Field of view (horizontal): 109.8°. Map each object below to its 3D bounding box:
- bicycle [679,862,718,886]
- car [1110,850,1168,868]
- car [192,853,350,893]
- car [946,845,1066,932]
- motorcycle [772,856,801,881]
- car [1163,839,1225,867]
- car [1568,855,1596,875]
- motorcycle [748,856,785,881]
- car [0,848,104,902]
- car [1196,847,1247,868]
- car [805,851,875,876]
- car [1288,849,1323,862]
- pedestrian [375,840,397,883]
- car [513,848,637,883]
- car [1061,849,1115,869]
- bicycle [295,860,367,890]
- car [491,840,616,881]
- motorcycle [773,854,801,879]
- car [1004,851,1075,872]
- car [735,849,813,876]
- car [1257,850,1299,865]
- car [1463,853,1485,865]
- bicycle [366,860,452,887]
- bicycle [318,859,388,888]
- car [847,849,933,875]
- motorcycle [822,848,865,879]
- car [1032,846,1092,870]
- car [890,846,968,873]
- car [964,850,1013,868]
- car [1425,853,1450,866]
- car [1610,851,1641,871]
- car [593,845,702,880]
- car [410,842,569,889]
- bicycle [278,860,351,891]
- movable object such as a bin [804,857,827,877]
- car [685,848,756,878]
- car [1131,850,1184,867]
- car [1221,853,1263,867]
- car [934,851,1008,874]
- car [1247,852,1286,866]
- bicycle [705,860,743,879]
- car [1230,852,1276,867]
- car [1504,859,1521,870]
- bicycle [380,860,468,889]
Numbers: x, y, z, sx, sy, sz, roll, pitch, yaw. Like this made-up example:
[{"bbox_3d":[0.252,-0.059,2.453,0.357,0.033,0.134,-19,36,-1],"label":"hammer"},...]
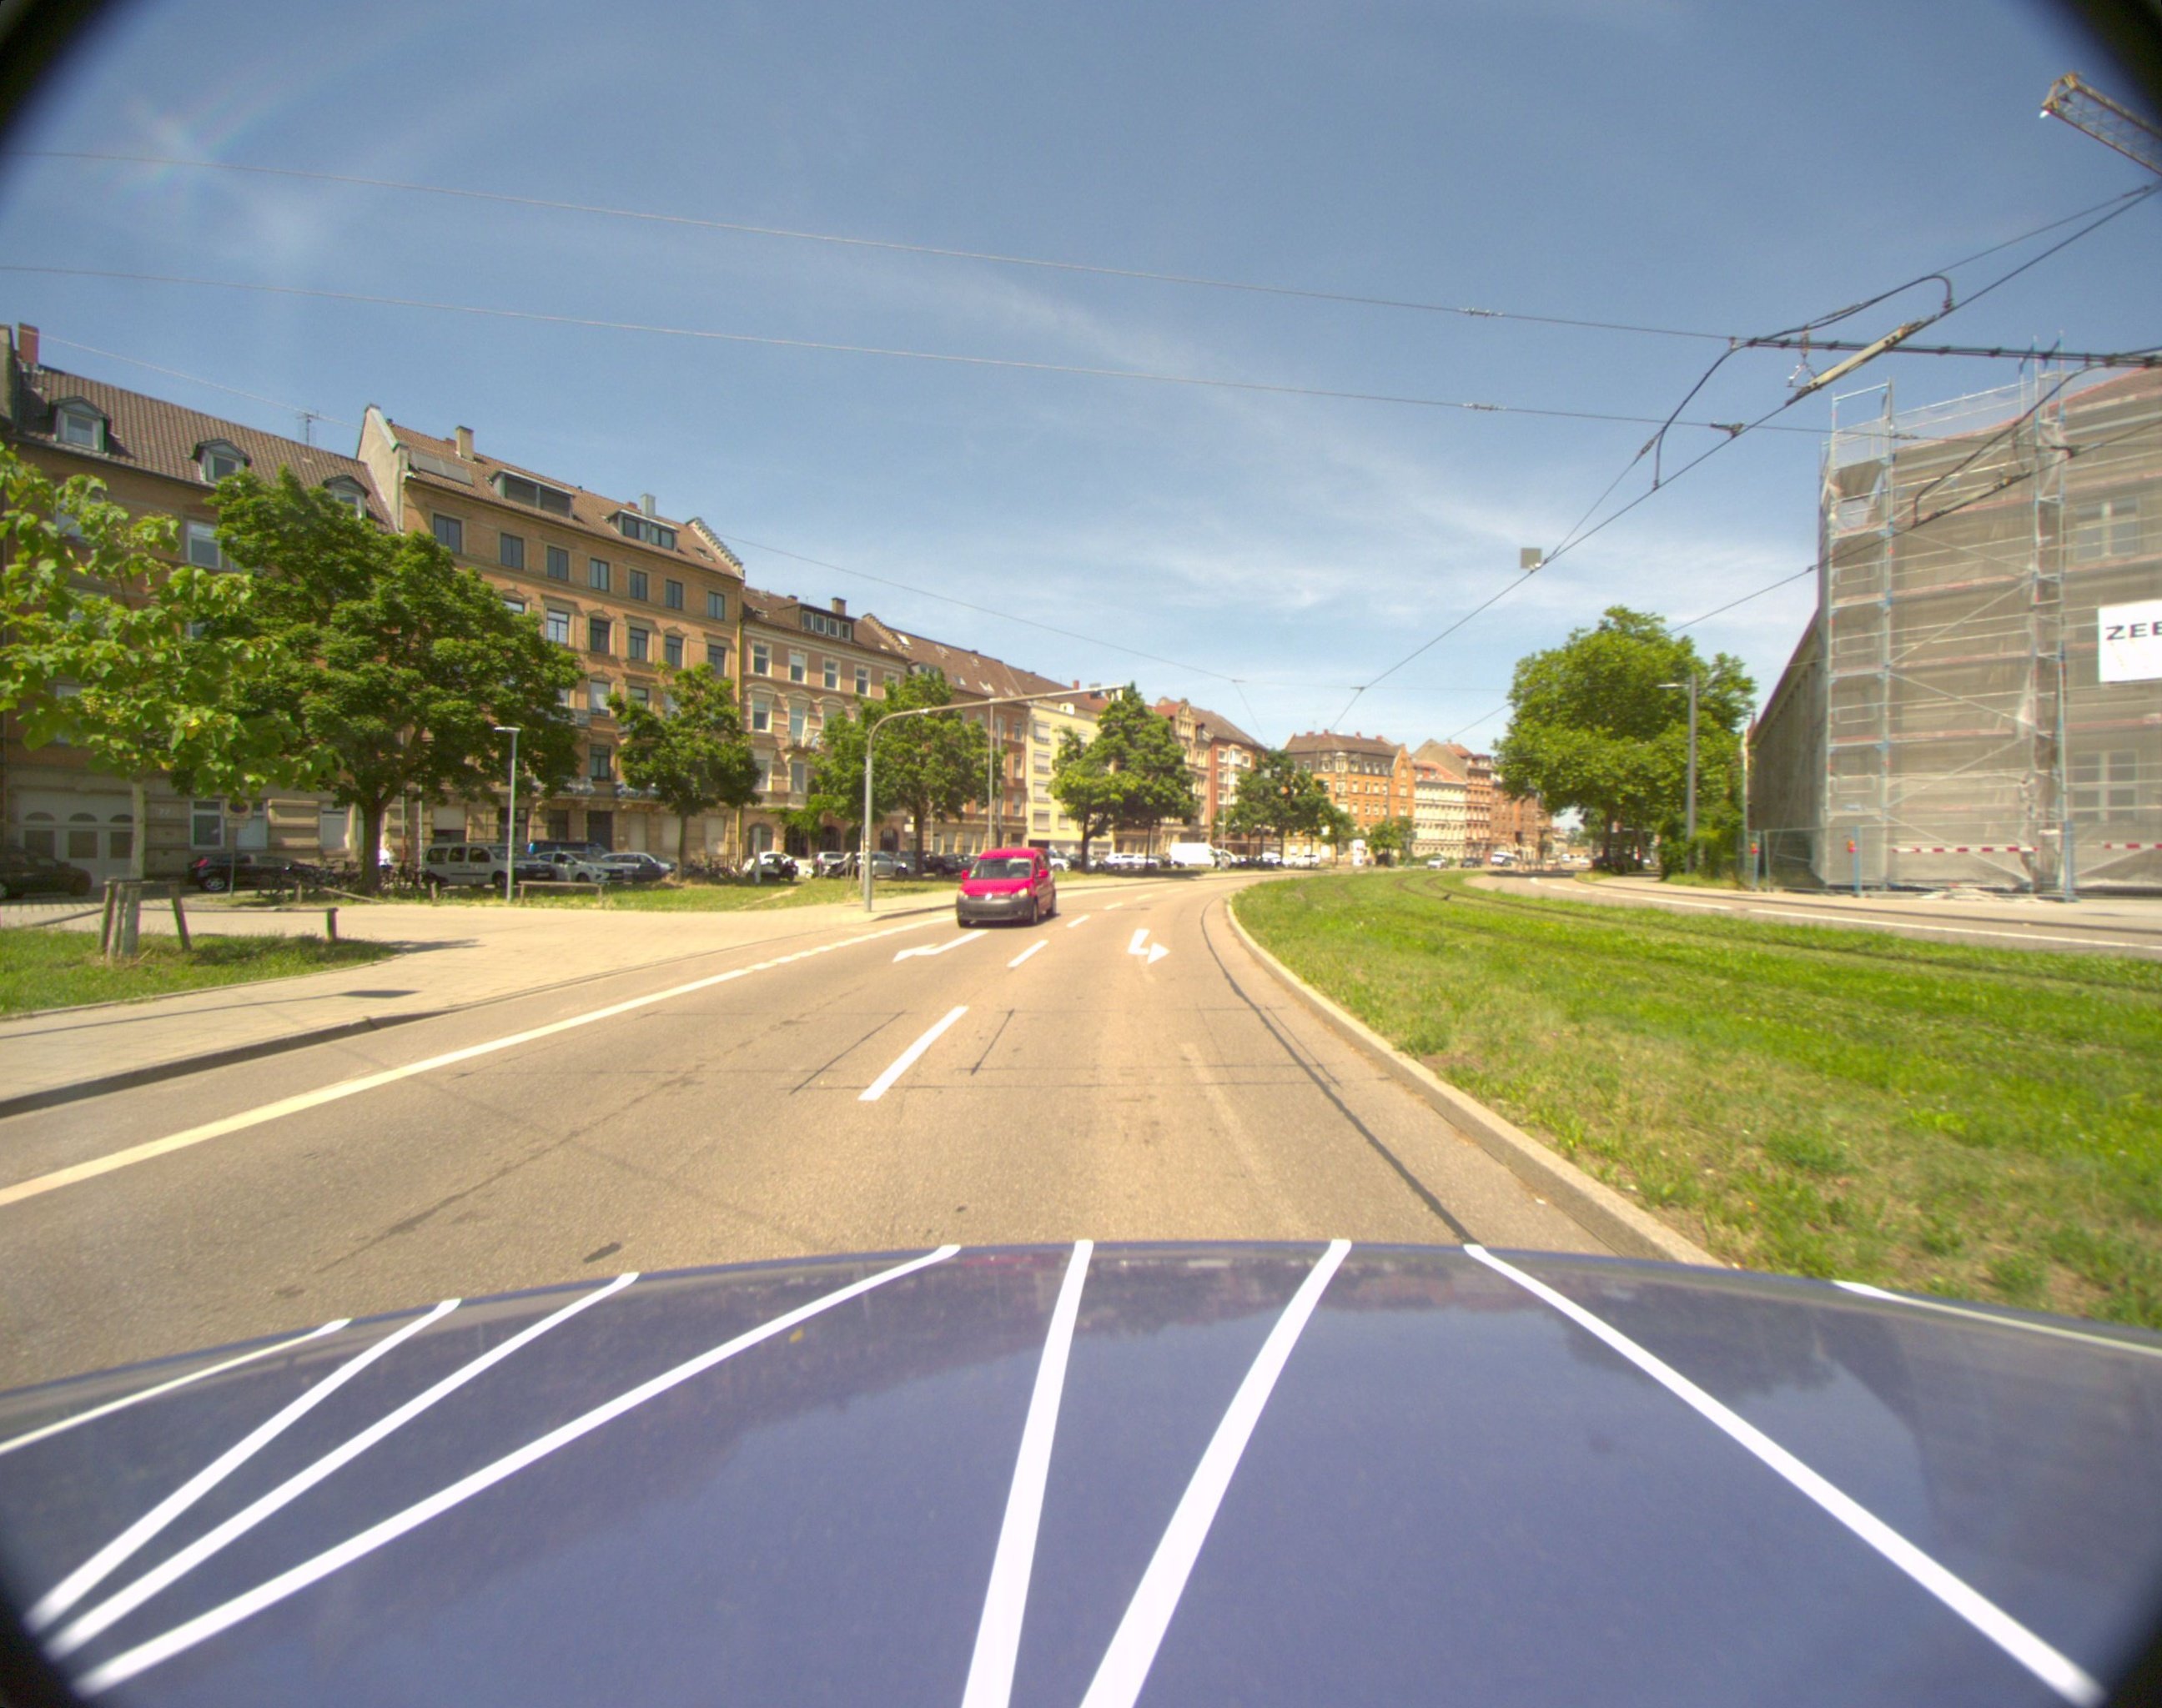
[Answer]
[{"bbox_3d":[-15.401,0.800,30.621,1.373,0.942,0.475,-1,0,-31],"label":"bicycle"},{"bbox_3d":[4.702,0.430,62.271,4.688,1.419,1.973,-1,0,2],"label":"car"},{"bbox_3d":[-31.292,0.695,29.459,1.772,1.411,4.008,-1,-1,37],"label":"car"},{"bbox_3d":[-1.659,0.766,18.720,1.858,1.823,5.169,-1,-1,6],"label":"car"},{"bbox_3d":[-13.394,0.658,34.545,1.521,1.113,0.479,-1,0,38],"label":"motorcycle"},{"bbox_3d":[10.583,-0.070,71.678,5.546,2.446,2.238,-1,0,2],"label":"car"},{"bbox_3d":[36.626,0.768,55.493,1.588,1.415,4.332,-1,-1,35],"label":"car"},{"bbox_3d":[-14.041,0.658,33.873,1.823,1.113,0.529,-1,0,32],"label":"motorcycle"},{"bbox_3d":[-32.000,0.632,22.621,1.779,1.520,4.074,-1,-1,-22],"label":"car"},{"bbox_3d":[13.700,0.319,74.303,4.841,1.961,2.078,-1,0,10],"label":"car"},{"bbox_3d":[-15.802,0.617,49.990,1.837,1.521,4.008,-1,-1,36],"label":"car"},{"bbox_3d":[34.898,0.211,118.099,4.842,1.926,2.171,-1,0,27],"label":"car"},{"bbox_3d":[-29.549,0.324,32.312,0.452,1.808,0.604,-1,0,38],"label":"pedestrian"},{"bbox_3d":[-19.991,0.459,30.087,3.993,1.324,1.761,-1,0,11],"label":"car"},{"bbox_3d":[0.529,0.373,57.300,3.996,1.392,1.713,-1,0,2],"label":"car"},{"bbox_3d":[-24.411,0.687,24.732,2.048,0.930,0.509,-1,0,8],"label":"bicycle"},{"bbox_3d":[-25.704,0.302,37.177,1.920,1.892,4.664,-1,-1,39],"label":"car"},{"bbox_3d":[-14.949,0.622,38.638,0.814,1.229,2.080,-1,0,-36],"label":"motorcycle"},{"bbox_3d":[-2.825,0.525,52.568,4.785,1.305,2.149,-1,0,-3],"label":"car"},{"bbox_3d":[-18.616,0.511,46.216,1.837,1.521,4.009,-1,-1,40],"label":"car"},{"bbox_3d":[21.887,0.403,84.286,4.404,1.622,2.003,-1,0,17],"label":"car"},{"bbox_3d":[52.764,0.619,101.907,1.796,1.564,4.009,-1,-1,40],"label":"car"},{"bbox_3d":[-23.519,0.677,26.608,2.426,0.930,0.508,0,1,-5],"label":"bicycle"},{"bbox_3d":[-24.298,0.663,25.370,2.048,0.930,0.509,-1,0,8],"label":"bicycle"},{"bbox_3d":[-10.580,0.443,42.218,4.340,1.368,1.584,-1,0,13],"label":"car"},{"bbox_3d":[-11.235,0.451,35.987,0.675,1.405,1.860,2,1,40],"label":"motorcycle"},{"bbox_3d":[-1.361,0.322,55.173,3.993,1.652,1.974,-1,0,11],"label":"car"},{"bbox_3d":[-8.875,0.344,44.580,4.085,1.461,1.800,-1,0,11],"label":"car"},{"bbox_3d":[-7.324,0.380,60.282,1.780,1.411,3.724,-1,-1,38],"label":"car"},{"bbox_3d":[43.061,0.654,91.726,1.796,1.564,4.009,-1,-1,40],"label":"car"},{"bbox_3d":[51.087,0.656,71.209,1.994,1.800,4.310,-1,-1,40],"label":"car"},{"bbox_3d":[-18.433,0.364,32.340,3.863,1.424,1.608,-1,0,10],"label":"car"},{"bbox_3d":[-21.563,0.440,27.766,4.866,1.591,1.838,-1,0,11],"label":"car"},{"bbox_3d":[-24.445,0.687,24.230,2.048,0.930,0.509,-1,0,8],"label":"bicycle"},{"bbox_3d":[-12.789,0.630,36.588,0.703,0.931,0.986,-1,0,-40],"label":"movable object such as a bin"},{"bbox_3d":[-17.774,0.443,37.394,1.961,1.368,3.989,-1,-1,-44],"label":"car"},{"bbox_3d":[6.506,0.387,65.161,4.428,1.330,1.973,-1,0,2],"label":"car"},{"bbox_3d":[16.225,0.608,76.659,3.992,1.378,1.826,-1,0,17],"label":"car"},{"bbox_3d":[-6.784,0.516,46.936,3.992,1.305,1.975,-1,0,17],"label":"car"},{"bbox_3d":[19.973,0.519,81.825,3.992,1.391,1.826,-1,0,17],"label":"car"},{"bbox_3d":[-15.973,0.682,34.004,1.457,0.800,0.498,-1,0,-17],"label":"bicycle"},{"bbox_3d":[17.990,0.549,79.393,4.624,1.488,1.968,-1,0,15],"label":"car"},{"bbox_3d":[66.834,1.608,117.660,1.796,1.564,4.008,-1,-1,37],"label":"car"},{"bbox_3d":[-22.477,0.695,26.022,2.426,0.930,0.508,-1,0,-5],"label":"bicycle"}]
